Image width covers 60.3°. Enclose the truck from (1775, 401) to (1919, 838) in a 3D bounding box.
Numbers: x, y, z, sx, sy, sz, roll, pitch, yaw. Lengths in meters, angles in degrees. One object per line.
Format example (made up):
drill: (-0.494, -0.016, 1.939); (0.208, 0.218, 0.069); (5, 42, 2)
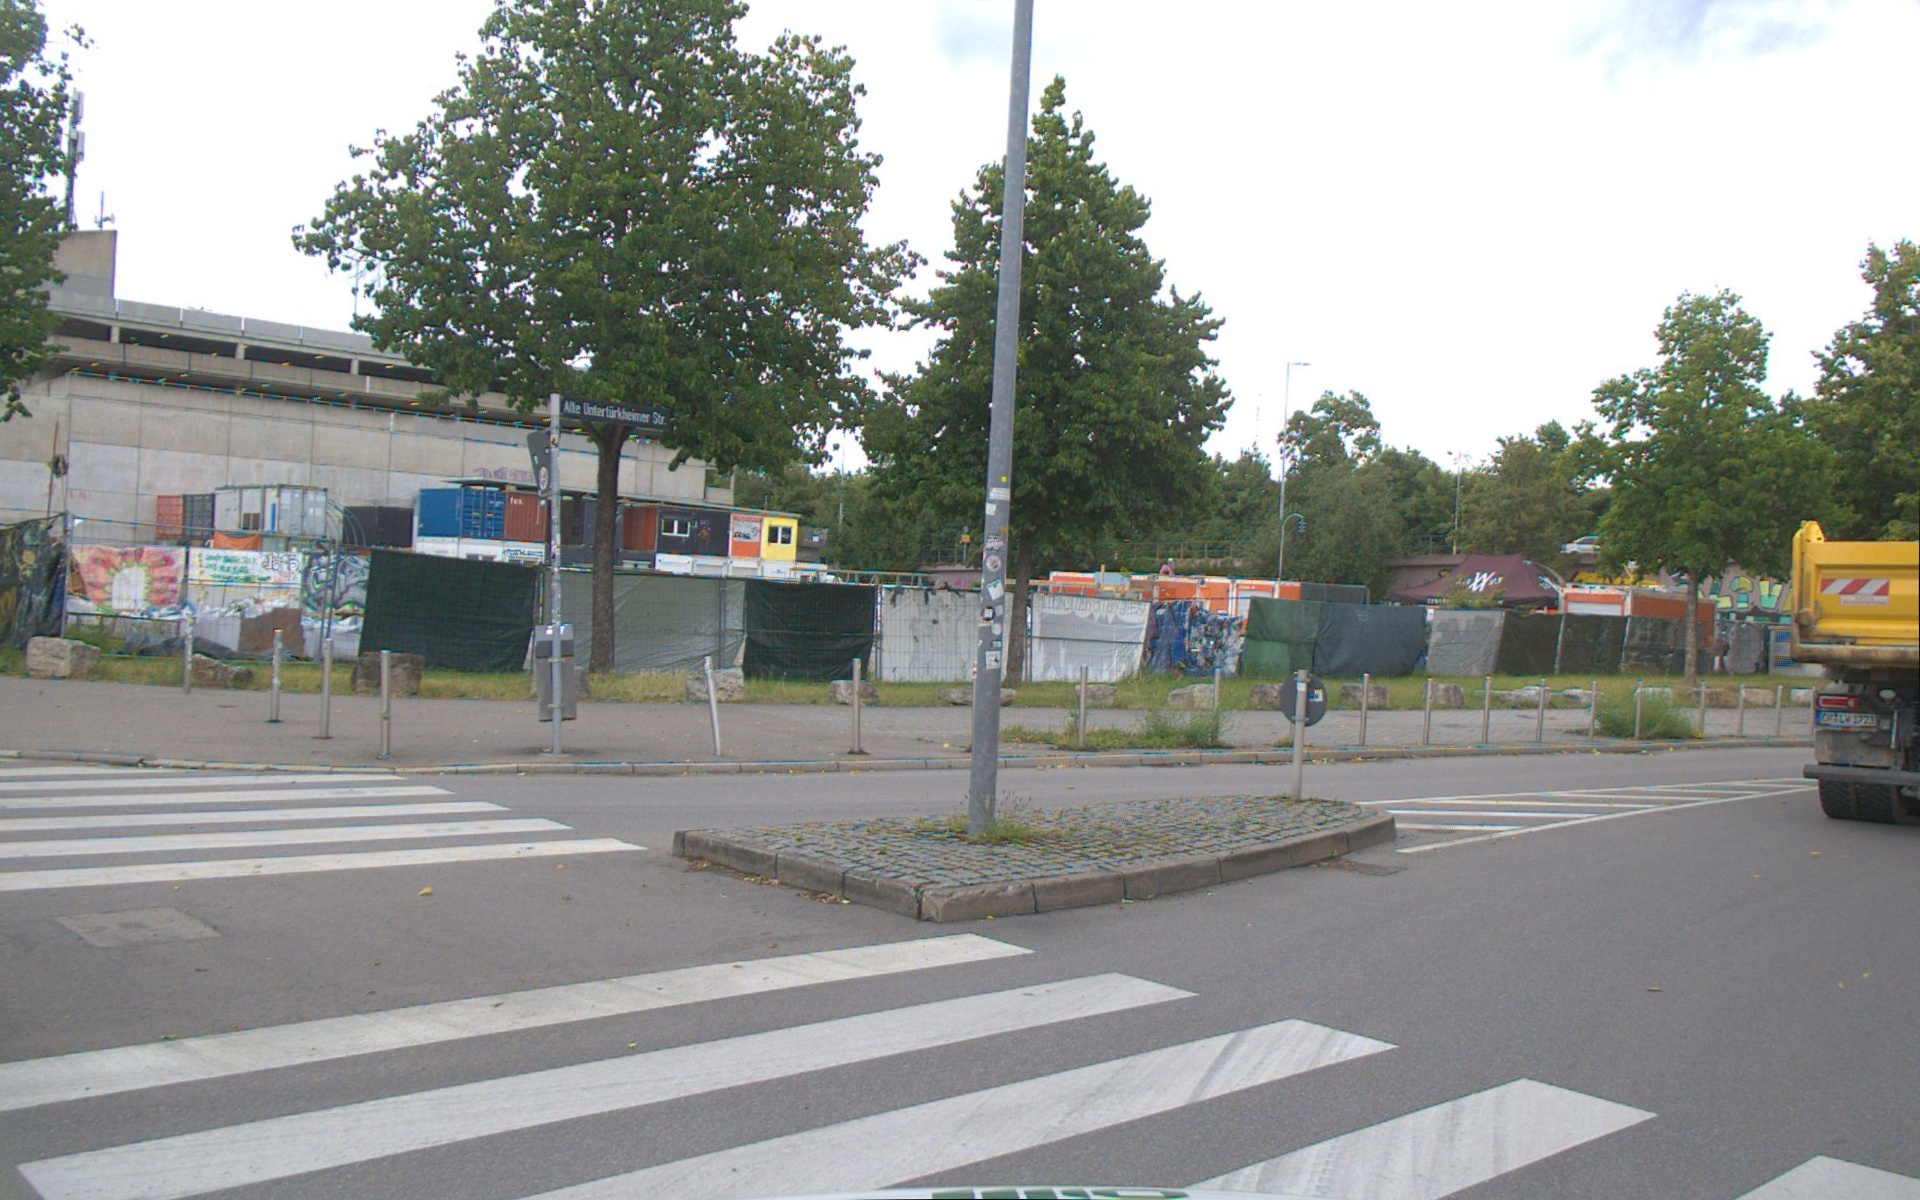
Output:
truck: (11.032, 0.281, 17.067); (2.717, 3.763, 7.835); (3, 0, 41)
